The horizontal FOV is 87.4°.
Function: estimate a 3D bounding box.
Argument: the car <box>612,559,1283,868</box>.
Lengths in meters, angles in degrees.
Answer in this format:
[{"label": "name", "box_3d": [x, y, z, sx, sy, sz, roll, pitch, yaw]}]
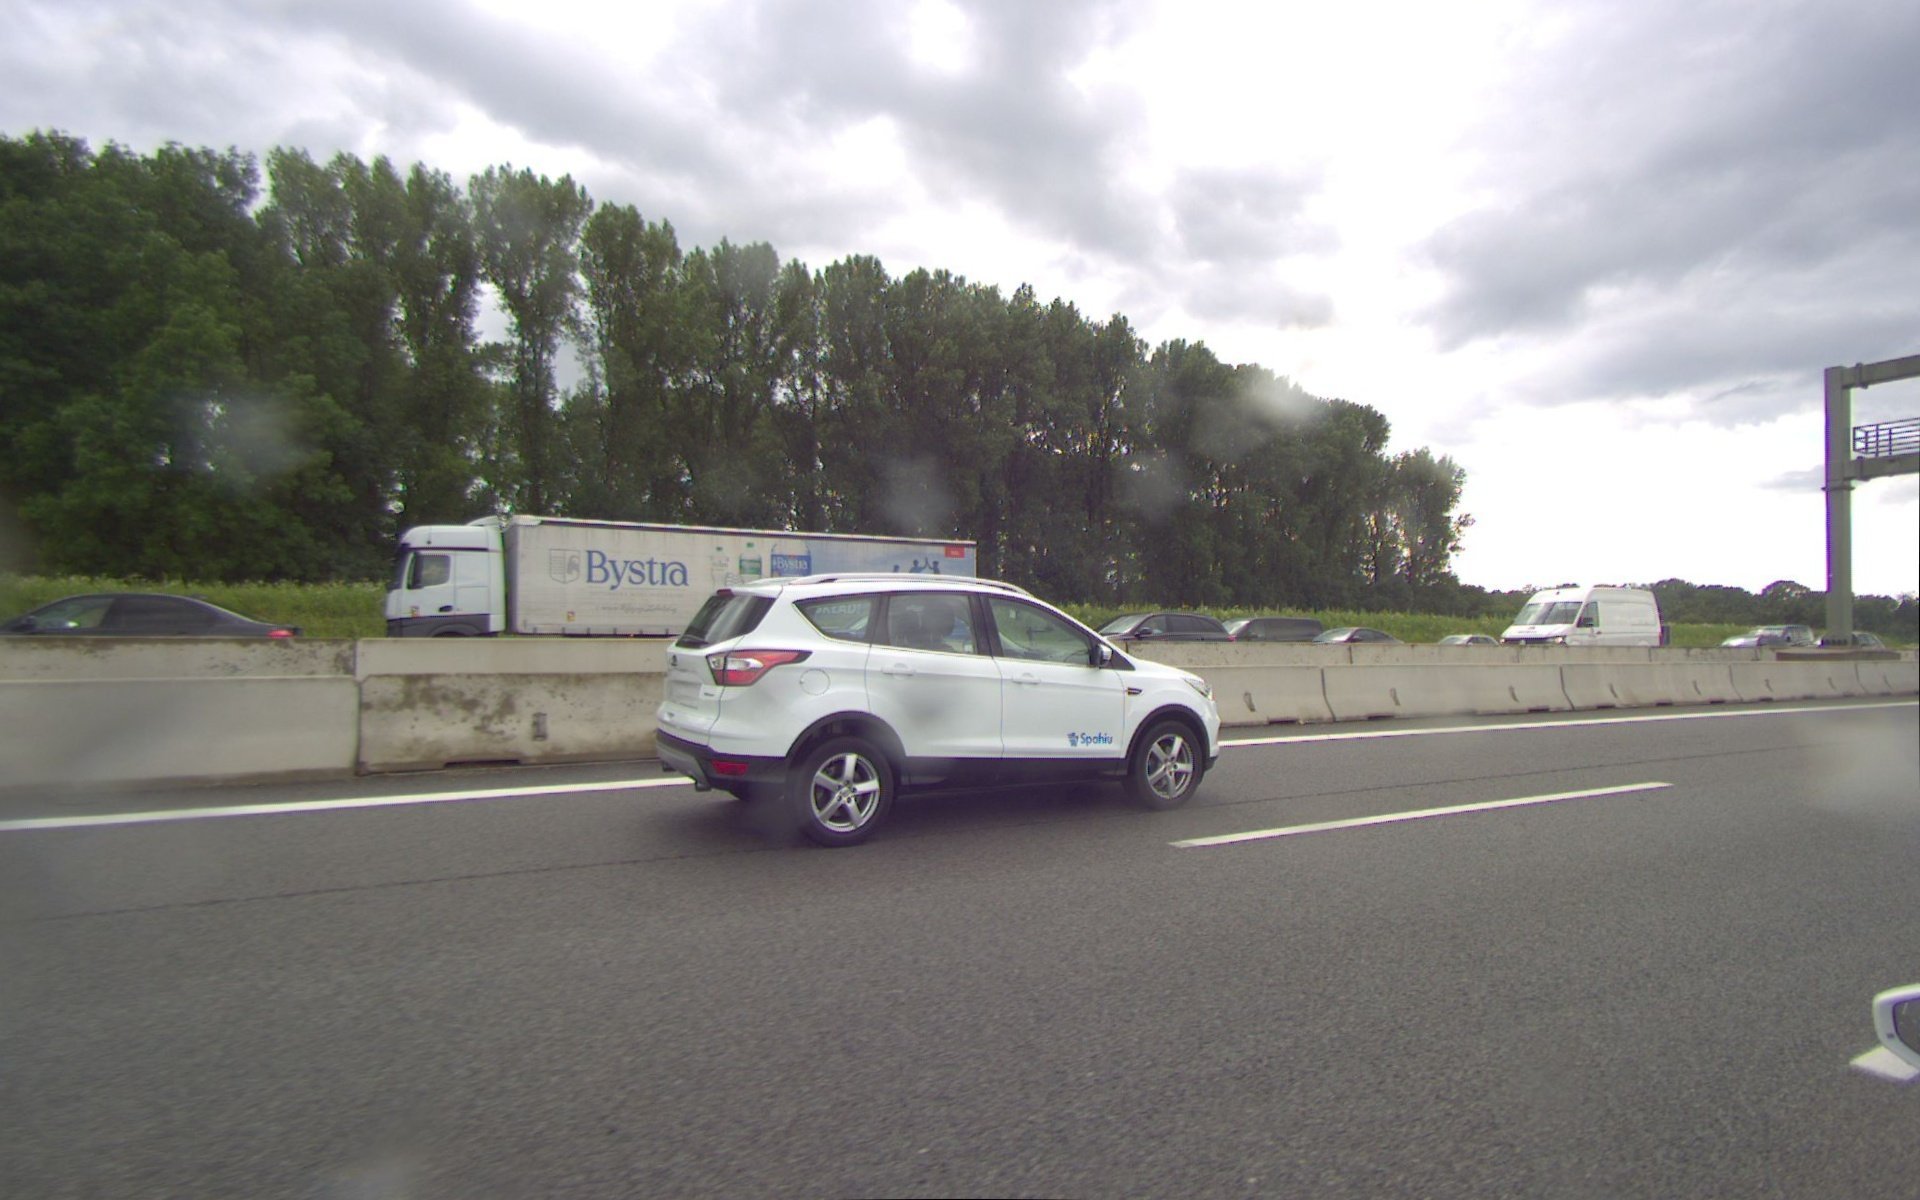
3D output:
[{"label": "car", "box_3d": [0.050, 0.687, 7.566, 4.794, 1.712, 1.807, 1, -1, -30]}]

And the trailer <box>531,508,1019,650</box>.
[{"label": "trailer", "box_3d": [-5.029, -0.355, 30.355, 14.285, 3.554, 3.094, 2, -1, -31]}]

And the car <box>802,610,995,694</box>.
[{"label": "car", "box_3d": [-1.408, 1.167, 23.124, 3.971, 1.750, 1.984, 2, -1, -31]}]

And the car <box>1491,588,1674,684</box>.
[{"label": "car", "box_3d": [18.783, 1.078, 30.190, 6.269, 2.650, 1.984, 2, -1, -31]}]

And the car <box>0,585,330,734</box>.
[{"label": "car", "box_3d": [-10.752, 0.728, 13.298, 3.971, 1.750, 1.984, 2, -1, -31]}]

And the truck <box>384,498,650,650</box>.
[{"label": "truck", "box_3d": [-11.625, -0.527, 26.429, 6.030, 3.554, 3.120, 2, -1, -31]}]

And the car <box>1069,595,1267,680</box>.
[{"label": "car", "box_3d": [4.502, 0.785, 21.686, 3.953, 1.679, 1.860, 2, -1, -30]}]
